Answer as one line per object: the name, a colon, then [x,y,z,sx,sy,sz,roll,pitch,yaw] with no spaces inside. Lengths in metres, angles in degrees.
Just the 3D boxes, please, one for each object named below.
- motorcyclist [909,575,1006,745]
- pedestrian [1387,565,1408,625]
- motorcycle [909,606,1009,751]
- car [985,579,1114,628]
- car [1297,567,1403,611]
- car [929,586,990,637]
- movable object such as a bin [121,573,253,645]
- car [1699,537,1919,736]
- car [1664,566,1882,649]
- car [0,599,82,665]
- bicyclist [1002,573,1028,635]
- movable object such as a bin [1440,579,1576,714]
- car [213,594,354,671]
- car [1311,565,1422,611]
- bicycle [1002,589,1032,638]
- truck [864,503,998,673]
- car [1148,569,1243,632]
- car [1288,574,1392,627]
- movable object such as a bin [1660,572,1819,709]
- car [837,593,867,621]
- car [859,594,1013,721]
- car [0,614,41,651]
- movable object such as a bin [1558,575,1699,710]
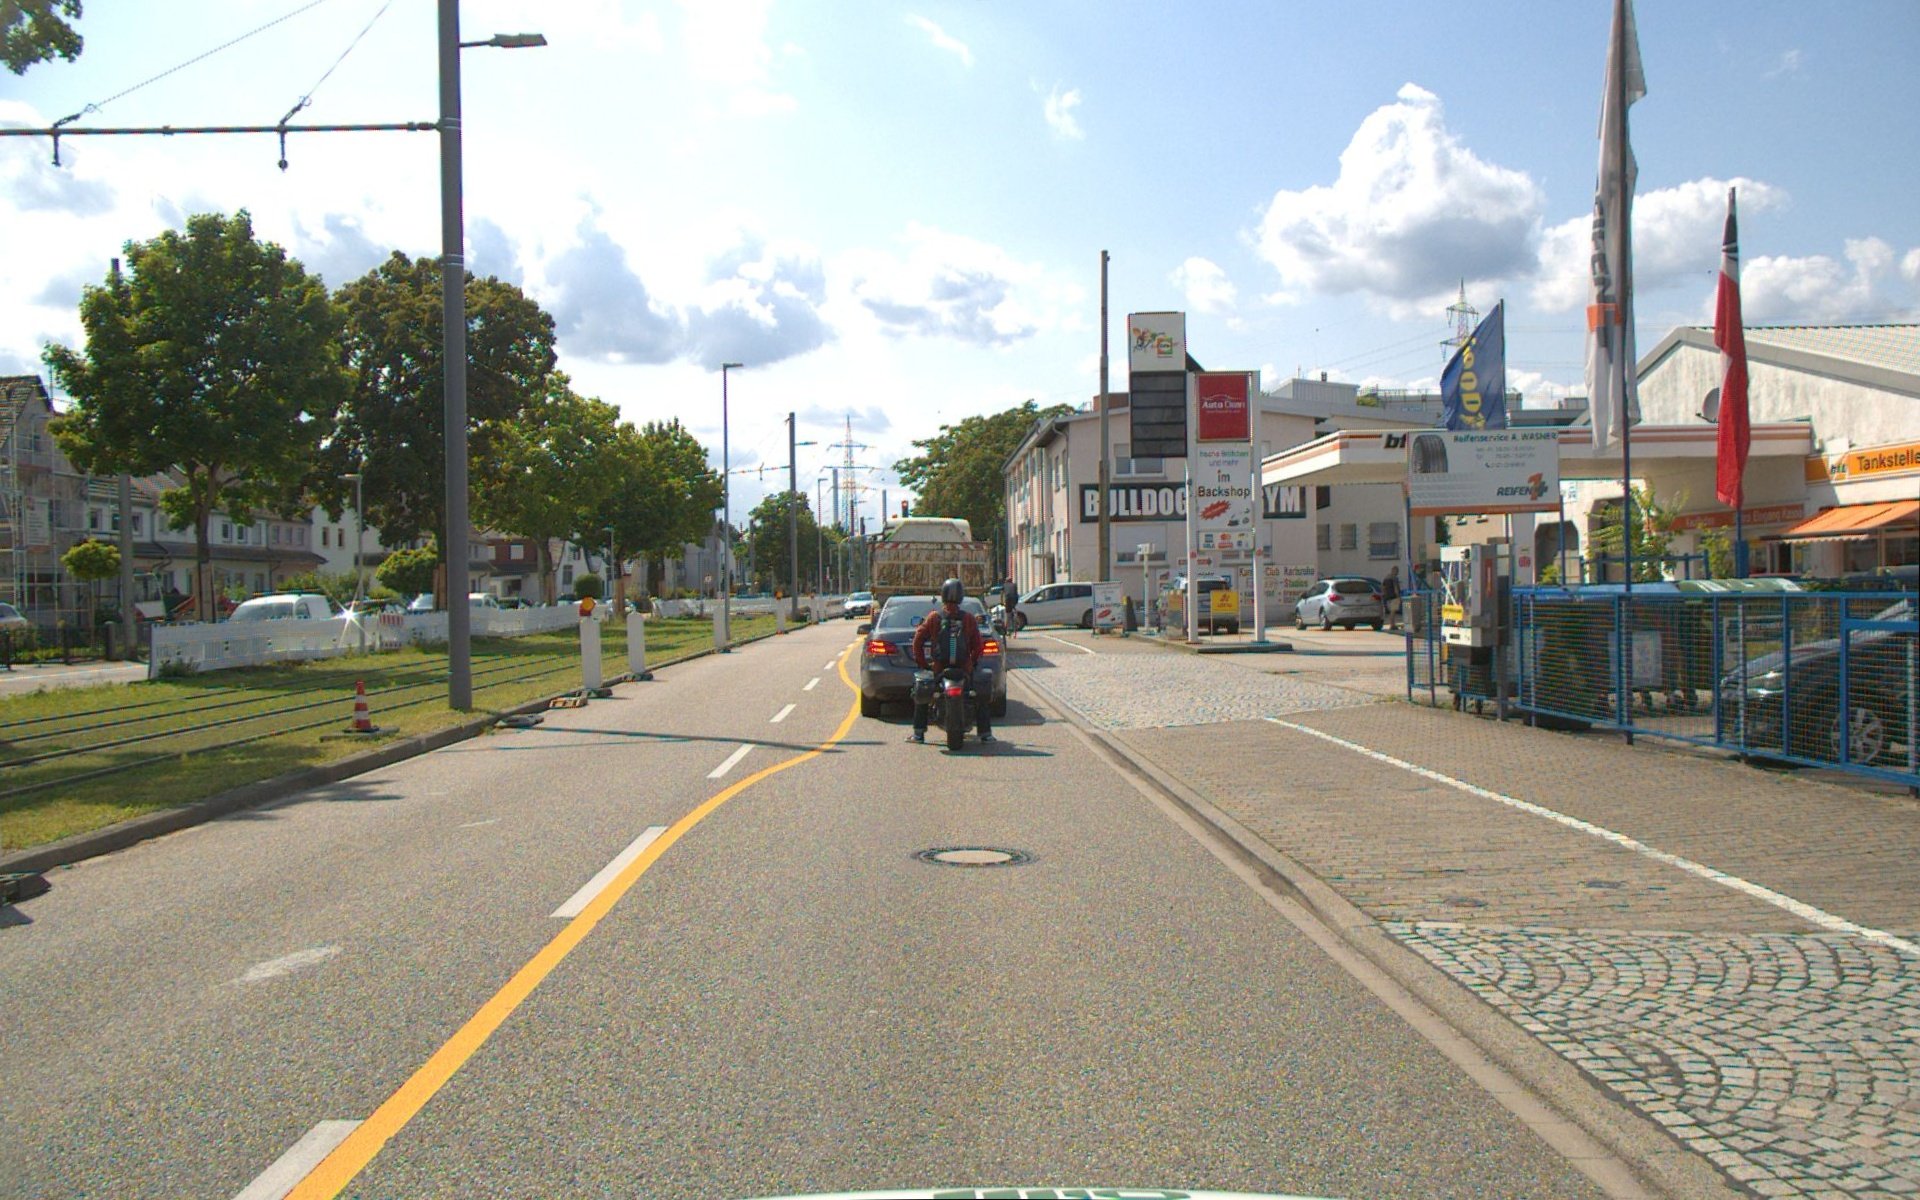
motorcyclist: [-0.037,0.584,16.680,0.920,1.643,1.204,1,0,-2]
pedestrian: [12.574,-0.136,47.543,0.388,1.718,0.485,-2,-1,-1]
motorcycle: [-0.047,0.740,16.861,0.920,1.343,2.644,1,0,-2]
car: [3.156,0.131,58.750,4.251,1.579,1.945,-2,0,-10]
car: [16.247,-0.445,69.012,3.907,1.677,1.965,-2,0,-2]
car: [-0.055,0.322,50.538,1.785,1.489,3.999,-1,0,-1]
movable object such as a bin: [-28.511,0.326,61.145,4.278,2.492,1.776,-2,0,-24]
car: [8.030,0.245,12.892,3.902,1.468,1.712,-2,0,16]
car: [15.138,0.133,30.898,3.253,1.384,1.611,-2,0,-2]
car: [-25.983,0.882,45.855,1.650,1.752,3.029,-2,0,-2]
bicyclist: [1.610,0.109,48.390,0.658,1.774,0.813,-1,0,-2]
movable object such as a bin: [6.269,0.526,18.962,1.231,1.469,0.824,-2,0,-1]
car: [-17.017,0.801,41.825,1.953,1.780,3.999,-2,0,-2]
car: [16.320,-0.490,66.469,3.907,1.677,1.965,-2,0,-2]
bicycle: [1.658,0.376,48.573,0.679,1.385,2.417,-1,0,-2]
truck: [-0.653,-0.353,37.656,2.557,3.312,9.181,-2,1,-1]
car: [6.830,0.023,48.349,1.920,1.677,3.997,-2,0,-4]
car: [11.231,0.020,49.204,1.920,1.445,3.997,-2,0,-4]
movable object such as a bin: [8.919,0.453,18.961,1.296,1.469,0.953,-2,0,-9]
car: [-6.076,0.364,93.329,1.622,1.472,4.300,-2,1,-3]
car: [-0.336,0.665,21.312,1.785,1.449,3.999,-1,0,-2]
car: [-29.128,0.992,48.997,1.651,1.071,3.979,-2,0,-2]
movable object such as a bin: [7.619,0.474,18.894,1.231,1.469,0.824,-2,0,-1]
